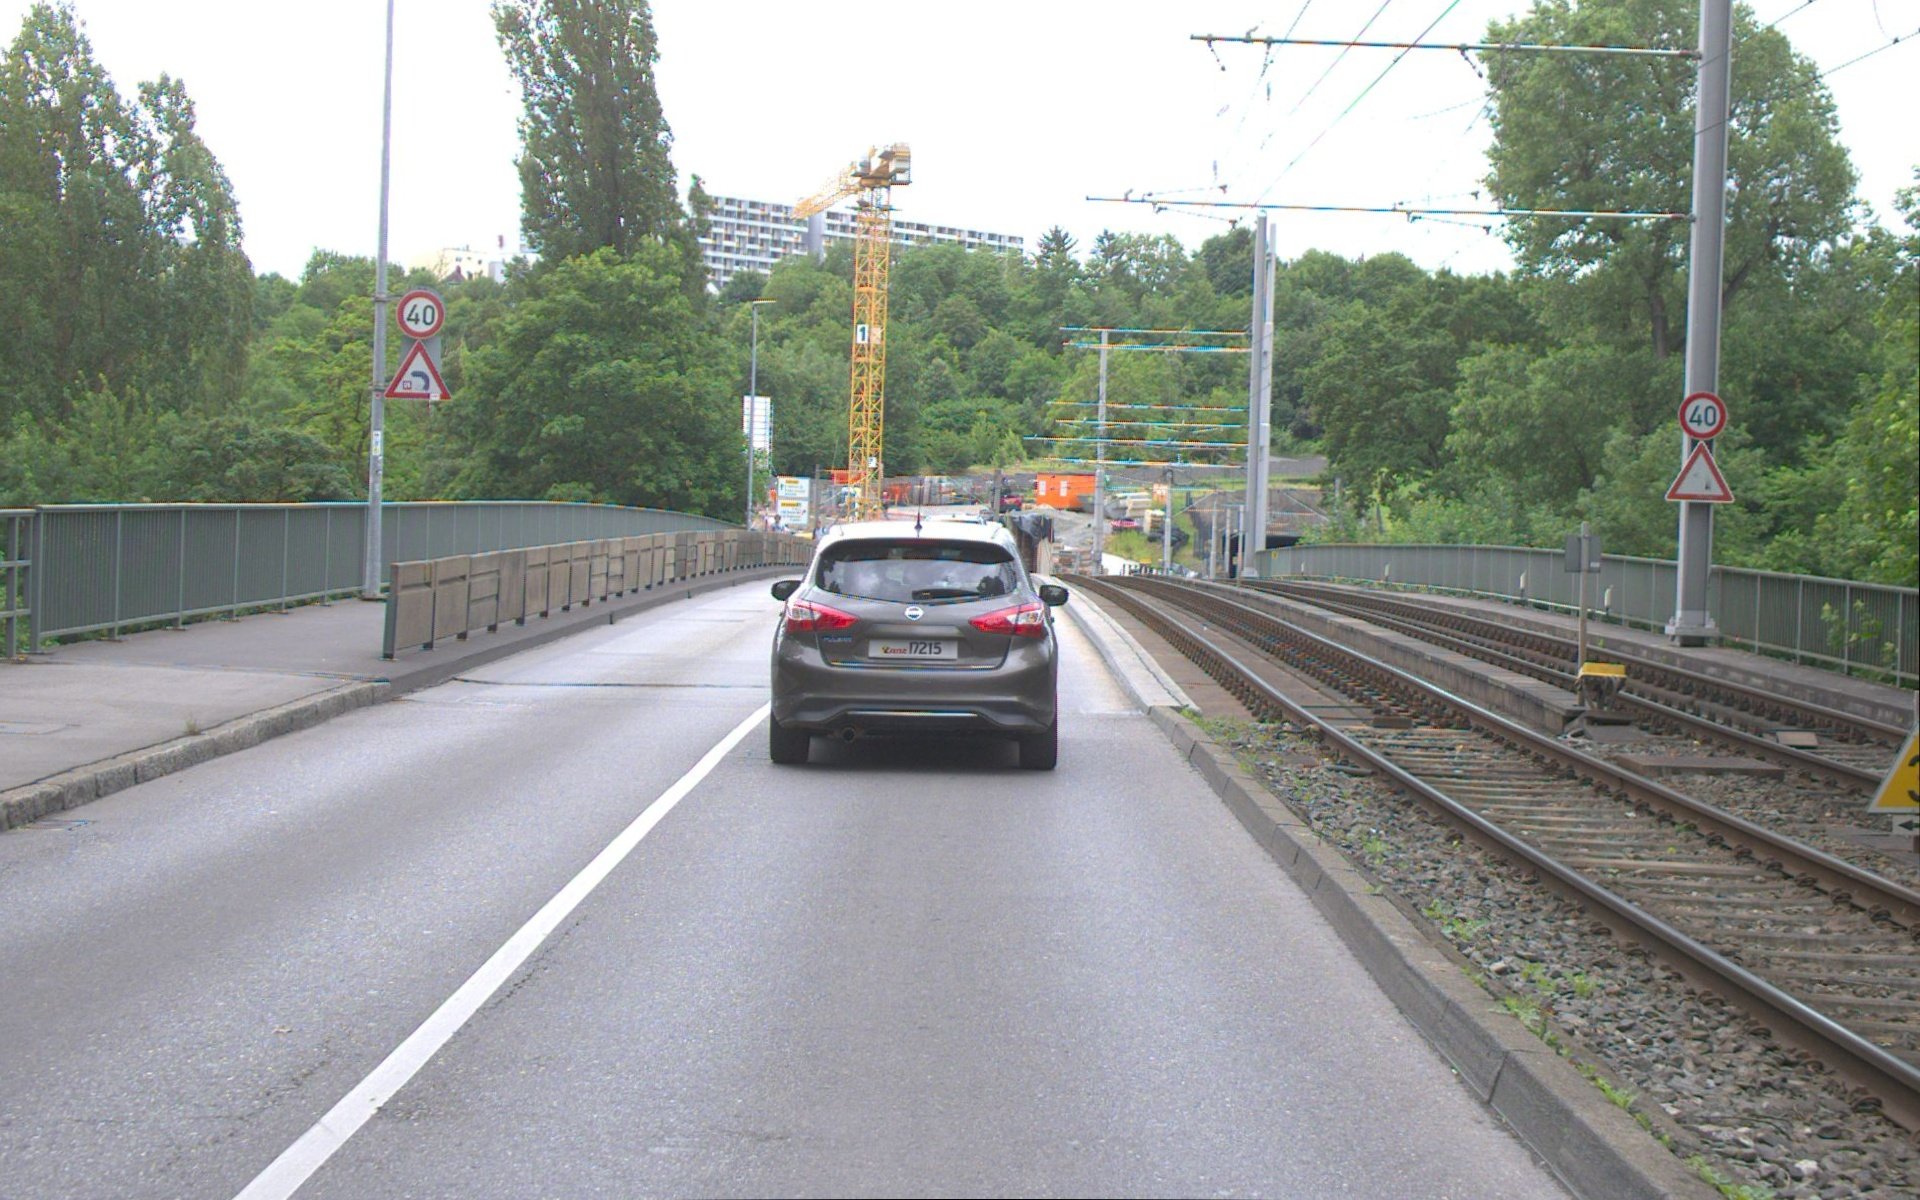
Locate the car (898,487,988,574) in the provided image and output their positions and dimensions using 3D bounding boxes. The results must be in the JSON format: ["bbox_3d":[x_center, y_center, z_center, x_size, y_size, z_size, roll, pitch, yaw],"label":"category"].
[{"bbox_3d":[-0.349,-1.434,69.596,1.680,1.601,4.310,3,2,-1],"label":"car"}]

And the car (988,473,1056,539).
[{"bbox_3d":[1.629,-2.502,90.818,1.680,1.601,4.309,3,2,1],"label":"car"}]

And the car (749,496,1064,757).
[{"bbox_3d":[-0.422,0.138,22.349,1.829,1.505,4.001,1,1,-3],"label":"car"}]

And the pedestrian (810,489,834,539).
[{"bbox_3d":[-4.748,-2.953,118.258,0.721,1.695,0.723,2,1,0],"label":"pedestrian"}]
